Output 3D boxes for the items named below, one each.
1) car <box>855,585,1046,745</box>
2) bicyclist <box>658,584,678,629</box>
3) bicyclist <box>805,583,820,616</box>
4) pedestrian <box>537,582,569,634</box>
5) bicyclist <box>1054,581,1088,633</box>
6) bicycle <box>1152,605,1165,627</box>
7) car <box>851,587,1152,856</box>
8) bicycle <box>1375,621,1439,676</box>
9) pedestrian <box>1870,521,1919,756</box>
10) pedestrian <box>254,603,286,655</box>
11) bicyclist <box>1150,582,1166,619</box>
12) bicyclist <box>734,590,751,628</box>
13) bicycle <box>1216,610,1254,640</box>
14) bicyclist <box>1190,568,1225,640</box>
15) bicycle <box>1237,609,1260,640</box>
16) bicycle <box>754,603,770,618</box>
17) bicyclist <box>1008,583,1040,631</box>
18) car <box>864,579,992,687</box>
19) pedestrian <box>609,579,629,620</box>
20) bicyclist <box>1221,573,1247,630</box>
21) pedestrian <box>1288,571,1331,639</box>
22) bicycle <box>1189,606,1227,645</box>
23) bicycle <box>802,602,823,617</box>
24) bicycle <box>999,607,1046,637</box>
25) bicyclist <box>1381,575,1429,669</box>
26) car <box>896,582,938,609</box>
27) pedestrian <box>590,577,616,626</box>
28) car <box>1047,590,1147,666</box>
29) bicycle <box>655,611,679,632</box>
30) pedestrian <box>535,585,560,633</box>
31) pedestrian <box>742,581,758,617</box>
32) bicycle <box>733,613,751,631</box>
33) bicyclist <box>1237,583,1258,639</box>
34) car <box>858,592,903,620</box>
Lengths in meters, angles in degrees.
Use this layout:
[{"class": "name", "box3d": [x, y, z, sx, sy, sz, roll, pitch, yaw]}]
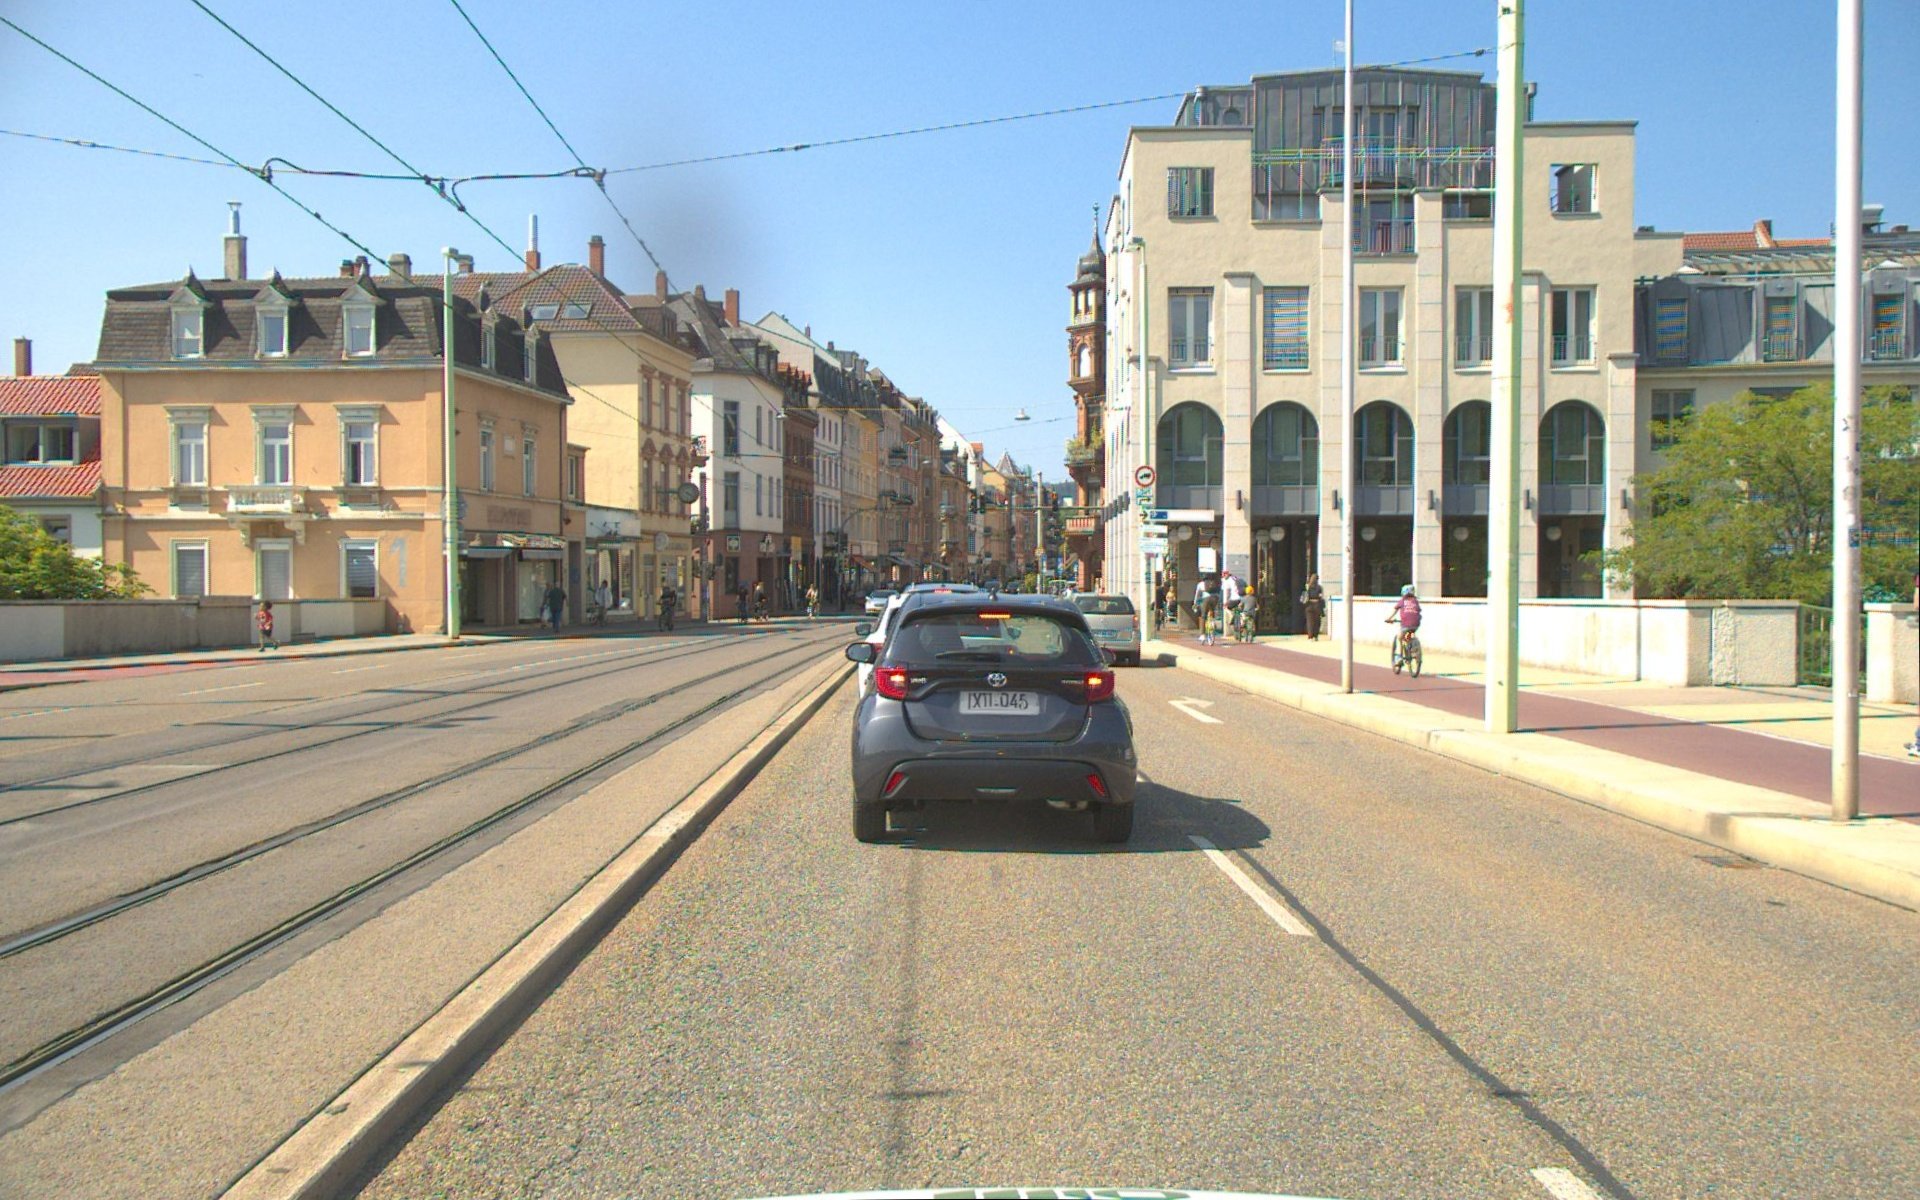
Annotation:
[{"class": "car", "box3d": [-0.133, 0.634, 18.383, 1.859, 1.557, 3.999, 1, 0, -1]}, {"class": "bicyclist", "box3d": [-11.088, 0.230, 62.810, 0.614, 1.679, 0.622, 2, 1, 0]}, {"class": "bicyclist", "box3d": [-7.651, -0.046, 85.764, 0.614, 1.679, 0.622, 2, 1, 8]}, {"class": "pedestrian", "box3d": [-13.632, 0.276, 55.416, 0.746, 1.682, 0.712, 4, 0, 7]}, {"class": "bicyclist", "box3d": [5.785, 0.367, 86.489, 1.215, 2.572, 1.094, 4, 0, -30]}, {"class": "bicycle", "box3d": [7.386, 0.593, 61.512, 0.407, 0.779, 1.206, -2, 0, 4]}, {"class": "car", "box3d": [0.202, 0.684, 11.235, 1.685, 1.499, 3.657, 1, 0, -1]}, {"class": "bicycle", "box3d": [6.855, 0.734, 25.442, 0.503, 0.779, 1.660, -2, 0, -1]}, {"class": "pedestrian", "box3d": [7.845, 0.292, 13.037, 0.724, 1.833, 1.015, -2, 0, -1]}, {"class": "pedestrian", "box3d": [-16.122, 0.669, 38.637, 0.403, 1.166, 0.545, 4, 0, 6]}, {"class": "bicyclist", "box3d": [7.357, 0.018, 61.426, 0.527, 1.339, 0.672, -1, 0, 3]}, {"class": "bicyclist", "box3d": [-9.777, 0.420, 74.314, 0.614, 1.679, 0.622, 2, 1, 0]}, {"class": "bicycle", "box3d": [7.326, 0.663, 44.034, 0.414, 0.779, 0.948, -2, 0, -39]}, {"class": "bicyclist", "box3d": [6.074, 0.098, 40.608, 0.687, 1.725, 0.924, -1, 0, 0]}, {"class": "bicycle", "box3d": [7.357, 0.621, 42.183, 0.408, 0.779, 0.961, -2, 0, -1]}, {"class": "bicycle", "box3d": [-10.131, 0.526, 84.768, 0.607, 0.728, 1.771, 1, 1, -1]}, {"class": "bicyclist", "box3d": [3.538, 0.373, 91.515, 1.214, 2.572, 1.095, 4, 0, -29]}, {"class": "car", "box3d": [-0.511, 0.478, 26.495, 1.859, 1.557, 3.999, 1, 0, -1]}, {"class": "pedestrian", "box3d": [-14.063, -0.032, 68.217, 0.636, 1.629, 0.566, 4, 2, -1]}, {"class": "bicyclist", "box3d": [7.298, 0.043, 44.054, 0.480, 1.492, 0.437, -2, 0, -40]}, {"class": "pedestrian", "box3d": [8.786, 0.127, 41.614, 0.724, 1.642, 1.015, 4, 0, -1]}, {"class": "bicycle", "box3d": [6.083, 0.614, 40.655, 0.689, 0.898, 1.525, -1, 0, 0]}, {"class": "bicycle", "box3d": [-7.667, 0.493, 85.761, 0.607, 0.728, 2.047, 2, 1, 8]}, {"class": "bicycle", "box3d": [3.434, 1.184, 91.467, 1.101, 1.444, 2.976, 4, 0, -31]}, {"class": "bicyclist", "box3d": [6.843, 0.338, 25.451, 0.523, 1.407, 0.669, -2, 0, -1]}, {"class": "car", "box3d": [-2.640, -0.298, 102.492, 1.951, 1.614, 4.656, 0, 0, 7]}, {"class": "pedestrian", "box3d": [-13.505, 0.051, 62.563, 0.721, 1.796, 0.787, 4, 0, -1]}, {"class": "car", "box3d": [2.845, 0.546, 35.183, 1.671, 1.491, 4.325, 1, 0, -1]}, {"class": "bicycle", "box3d": [-11.111, 0.797, 62.770, 0.608, 0.728, 1.771, 2, 1, -1]}, {"class": "pedestrian", "box3d": [-14.434, 0.305, 57.871, 0.636, 1.629, 0.566, 4, 2, -1]}, {"class": "pedestrian", "box3d": [-10.796, -0.050, 85.006, 0.721, 1.797, 0.787, 0, 1, -1]}, {"class": "bicycle", "box3d": [-9.782, 0.978, 74.278, 0.608, 0.728, 1.731, 2, 1, -1]}, {"class": "bicyclist", "box3d": [7.346, 0.279, 42.215, 0.413, 1.407, 0.443, -2, 0, -1]}, {"class": "car", "box3d": [-4.331, 0.305, 90.578, 1.694, 1.486, 4.377, 0, 0, 7]}]
